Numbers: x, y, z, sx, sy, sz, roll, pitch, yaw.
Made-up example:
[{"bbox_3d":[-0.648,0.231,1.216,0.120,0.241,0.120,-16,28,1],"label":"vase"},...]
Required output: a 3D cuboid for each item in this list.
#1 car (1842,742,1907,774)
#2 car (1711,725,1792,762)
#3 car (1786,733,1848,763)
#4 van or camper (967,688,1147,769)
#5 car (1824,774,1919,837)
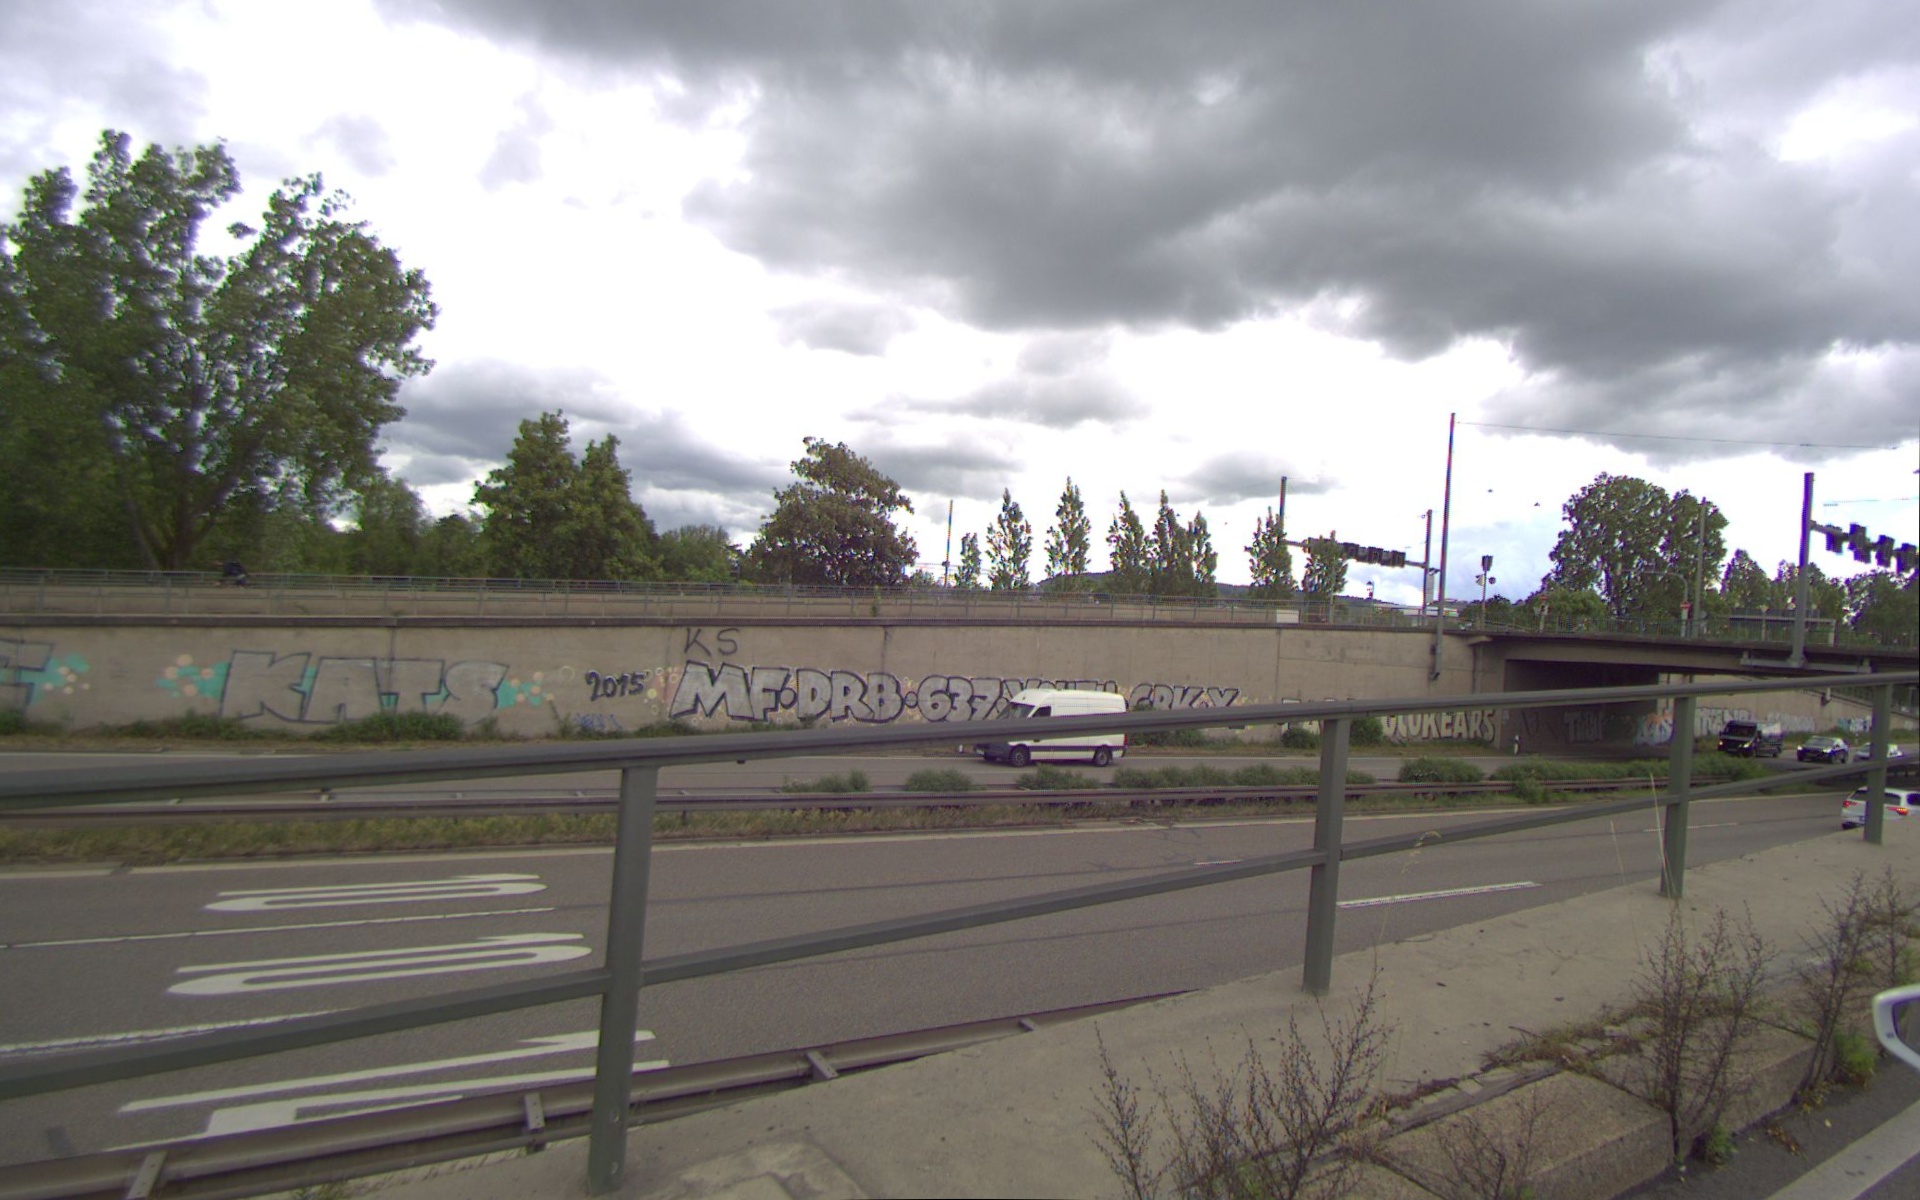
[{"bbox_3d":[57.593,9.922,63.238,3.957,1.683,1.983,6,-2,-31],"label":"car"},{"bbox_3d":[54.015,9.789,68.486,6.114,2.183,2.279,6,-3,-31],"label":"car"},{"bbox_3d":[57.090,9.865,66.897,3.957,1.683,1.983,6,-2,-31],"label":"car"},{"bbox_3d":[3.536,4.601,35.922,6.280,2.488,2.170,6,-2,-32],"label":"van or camper"},{"bbox_3d":[29.398,6.440,31.752,3.950,1.519,1.847,4,-2,-28],"label":"car"}]
